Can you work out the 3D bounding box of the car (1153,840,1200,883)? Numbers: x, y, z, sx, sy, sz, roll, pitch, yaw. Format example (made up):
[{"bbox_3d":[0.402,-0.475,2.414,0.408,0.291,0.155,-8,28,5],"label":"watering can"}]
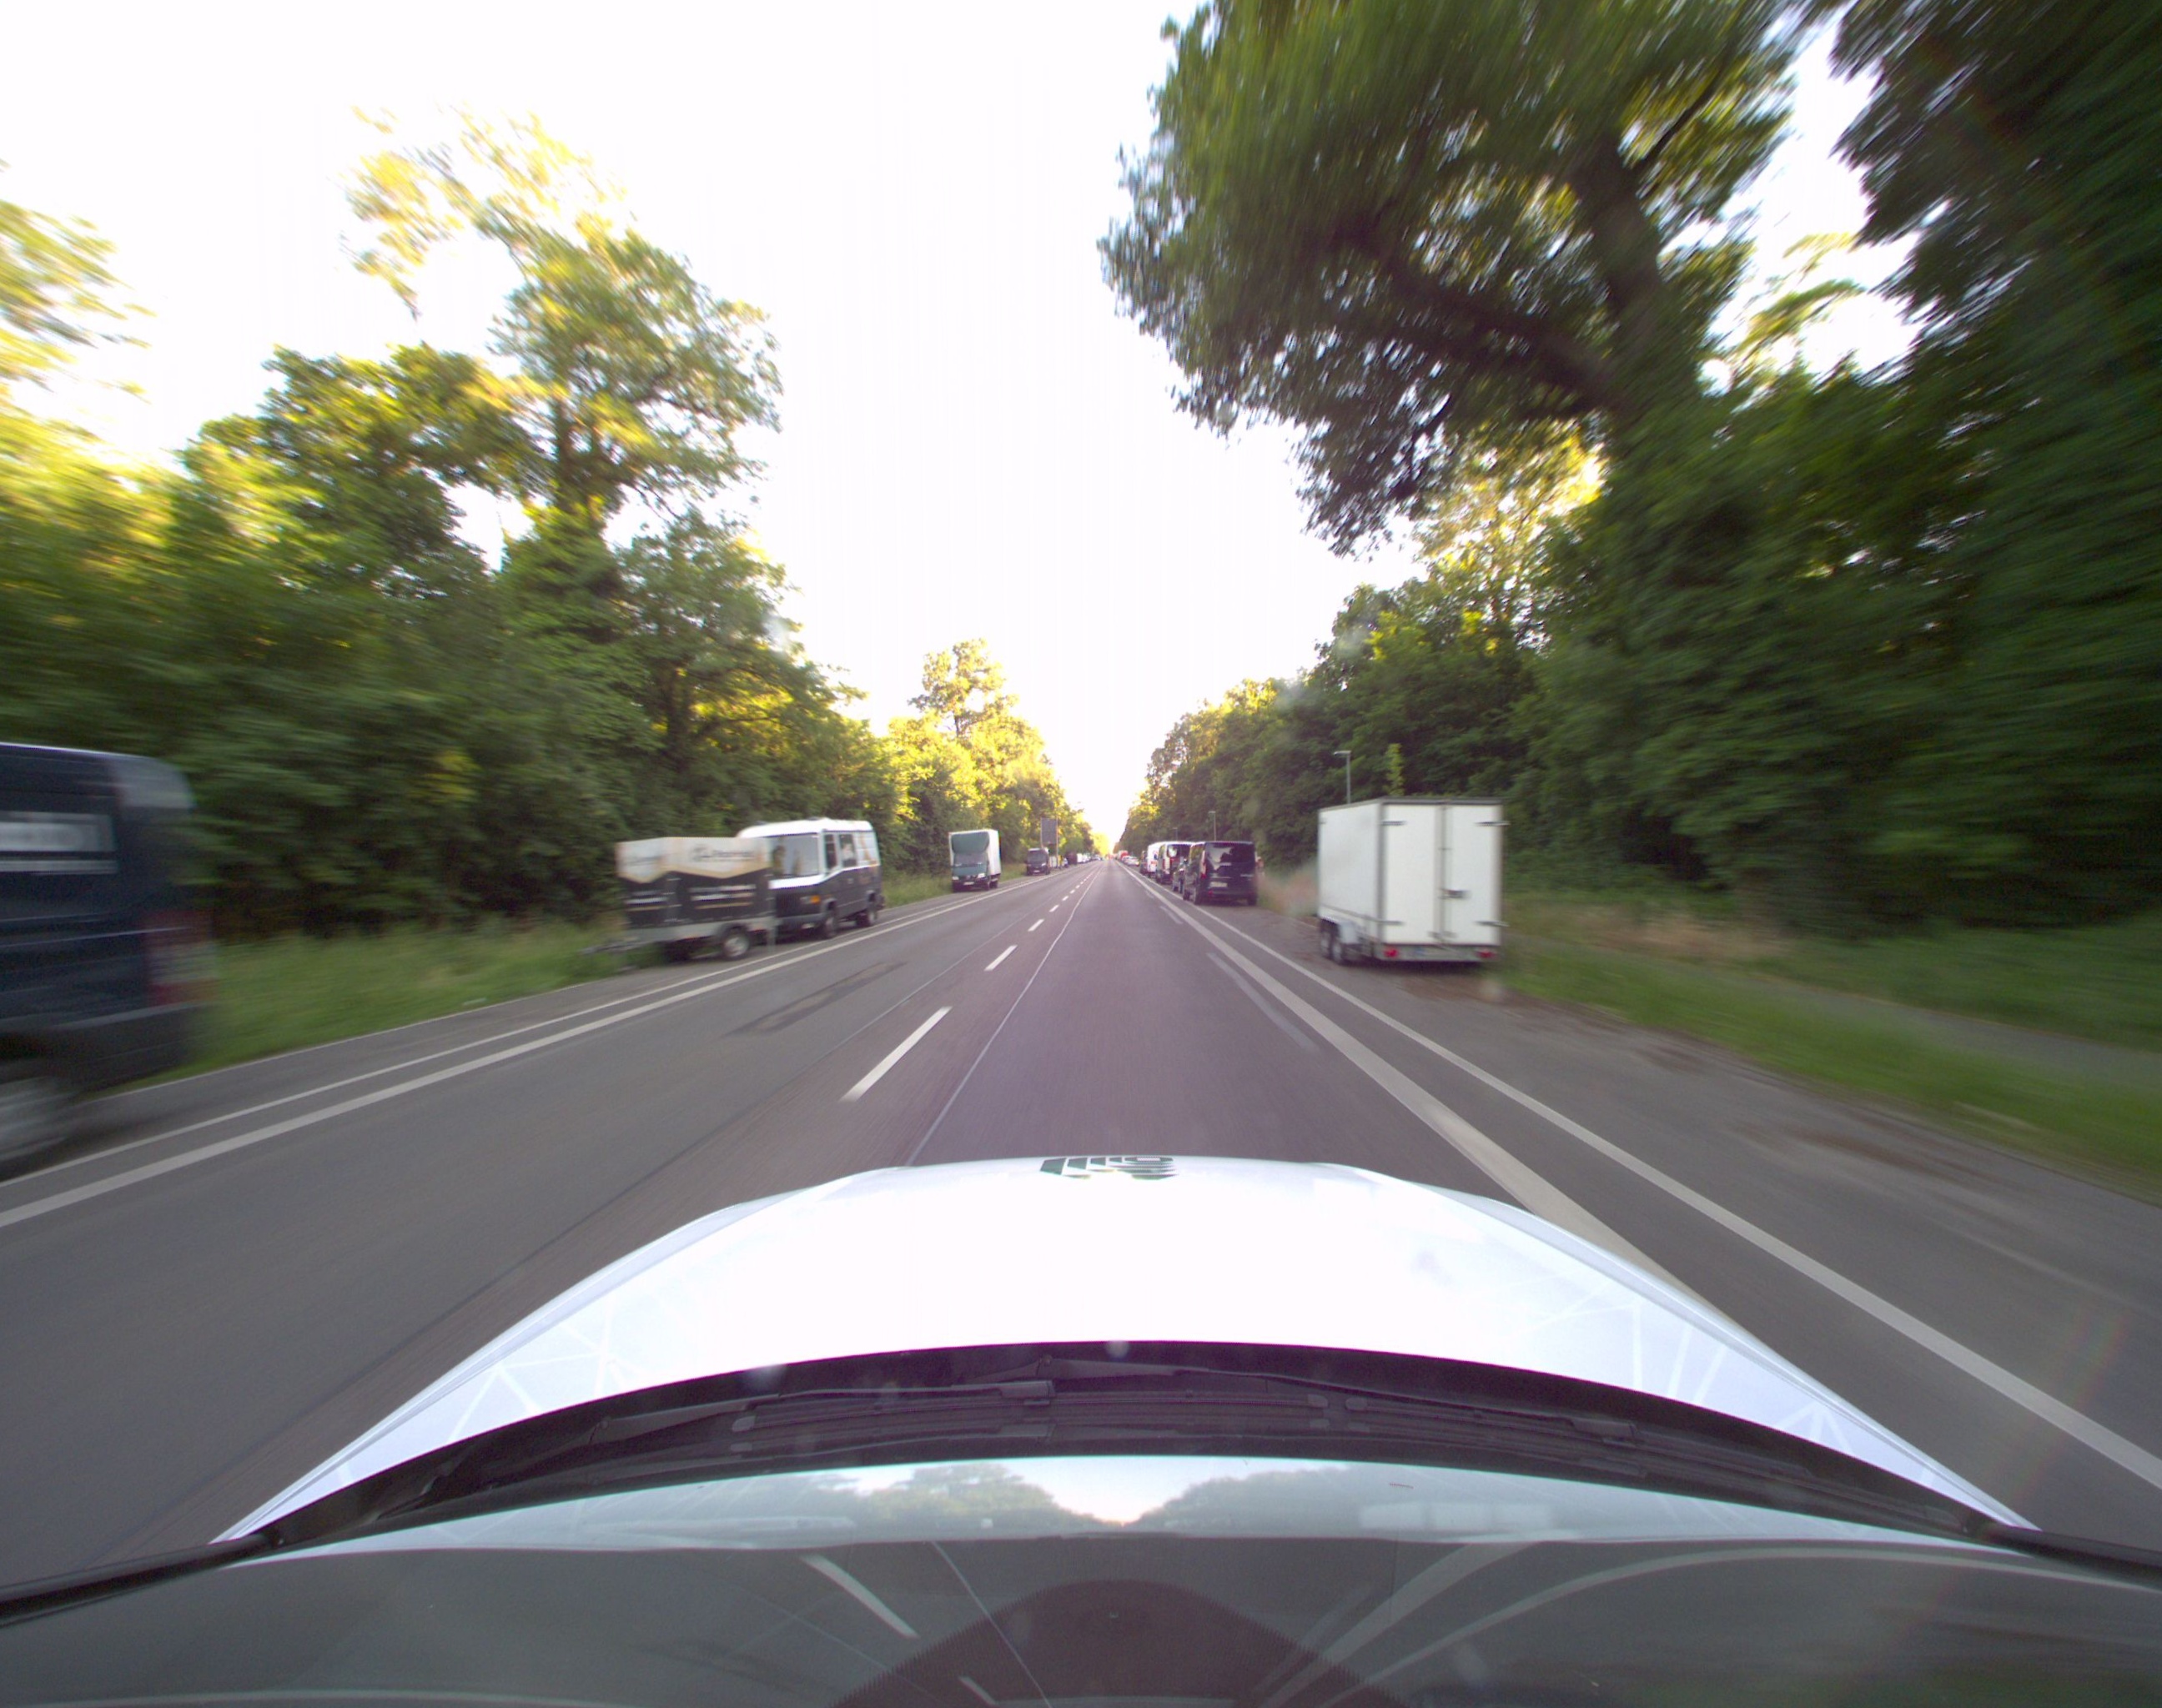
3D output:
[{"bbox_3d":[5.335,0.444,46.104,2.135,2.313,4.298,0,-1,0],"label":"car"}]

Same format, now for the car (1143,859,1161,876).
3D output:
[{"bbox_3d":[5.604,1.031,64.176,1.143,1.252,2.753,-2,0,0],"label":"car"}]

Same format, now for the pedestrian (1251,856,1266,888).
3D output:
[{"bbox_3d":[8.118,0.826,37.238,0.464,1.417,0.717,-2,-1,2],"label":"pedestrian"}]

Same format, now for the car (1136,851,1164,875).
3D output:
[{"bbox_3d":[5.921,0.766,70.159,1.987,1.955,4.298,0,-1,0],"label":"car"}]

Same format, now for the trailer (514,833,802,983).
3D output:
[{"bbox_3d":[-6.989,0.794,13.934,1.945,2.155,3.951,-3,0,23],"label":"trailer"}]

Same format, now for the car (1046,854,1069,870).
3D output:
[{"bbox_3d":[-3.187,1.076,109.357,1.685,2.013,4.020,0,0,20],"label":"car"}]

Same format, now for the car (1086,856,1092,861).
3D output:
[{"bbox_3d":[2.647,1.517,260.448,1.638,1.486,3.599,-2,0,4],"label":"car"}]

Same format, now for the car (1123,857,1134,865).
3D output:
[{"bbox_3d":[7.204,1.054,124.084,1.422,1.222,3.413,-4,0,2],"label":"car"}]

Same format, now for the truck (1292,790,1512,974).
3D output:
[{"bbox_3d":[4.560,0.371,12.334,1.877,2.283,4.304,0,-1,4],"label":"truck"}]

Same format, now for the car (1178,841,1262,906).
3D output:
[{"bbox_3d":[4.474,0.594,26.845,1.987,1.955,4.298,0,-1,0],"label":"car"}]

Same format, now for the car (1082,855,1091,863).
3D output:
[{"bbox_3d":[1.389,1.211,209.364,1.985,2.013,4.003,-2,0,3],"label":"car"}]

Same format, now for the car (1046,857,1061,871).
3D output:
[{"bbox_3d":[-3.389,1.194,100.940,1.765,1.672,3.999,0,0,0],"label":"car"}]

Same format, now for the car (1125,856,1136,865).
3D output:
[{"bbox_3d":[8.608,1.064,141.806,1.639,1.486,4.002,0,0,2],"label":"car"}]

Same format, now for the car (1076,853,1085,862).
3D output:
[{"bbox_3d":[-0.183,0.862,187.221,1.988,2.014,3.998,-2,-2,-1],"label":"car"}]

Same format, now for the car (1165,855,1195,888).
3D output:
[{"bbox_3d":[4.889,0.852,40.494,1.143,1.546,2.753,0,-1,0],"label":"car"}]

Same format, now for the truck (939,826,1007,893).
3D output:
[{"bbox_3d":[-5.817,0.280,45.036,2.495,3.329,6.844,-3,0,2],"label":"truck"}]

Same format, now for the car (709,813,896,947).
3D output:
[{"bbox_3d":[-6.330,0.534,19.454,2.241,2.647,5.723,-3,0,2],"label":"car"}]

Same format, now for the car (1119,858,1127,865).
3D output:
[{"bbox_3d":[9.646,1.727,187.991,1.639,1.486,3.596,0,0,2],"label":"car"}]

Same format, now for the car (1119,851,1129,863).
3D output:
[{"bbox_3d":[10.799,0.729,206.007,2.305,3.093,5.641,0,0,2],"label":"car"}]

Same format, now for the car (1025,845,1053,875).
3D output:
[{"bbox_3d":[-4.095,0.557,79.664,2.178,2.788,5.336,-3,0,2],"label":"car"}]

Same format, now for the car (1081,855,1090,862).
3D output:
[{"bbox_3d":[1.255,1.256,225.357,1.985,2.013,4.003,-2,0,3],"label":"car"}]

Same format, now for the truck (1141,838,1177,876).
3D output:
[{"bbox_3d":[5.623,0.219,59.197,2.135,2.660,4.298,0,-1,0],"label":"truck"}]

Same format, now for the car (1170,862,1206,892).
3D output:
[{"bbox_3d":[4.578,0.964,35.087,1.143,1.252,2.753,0,-1,0],"label":"car"}]

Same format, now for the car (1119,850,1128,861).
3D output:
[{"bbox_3d":[12.984,0.512,249.527,2.732,3.119,5.742,-2,-2,2],"label":"car"}]

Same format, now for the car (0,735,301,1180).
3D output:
[{"bbox_3d":[-6.800,0.600,3.026,1.986,2.364,5.768,-4,0,2],"label":"car"}]
